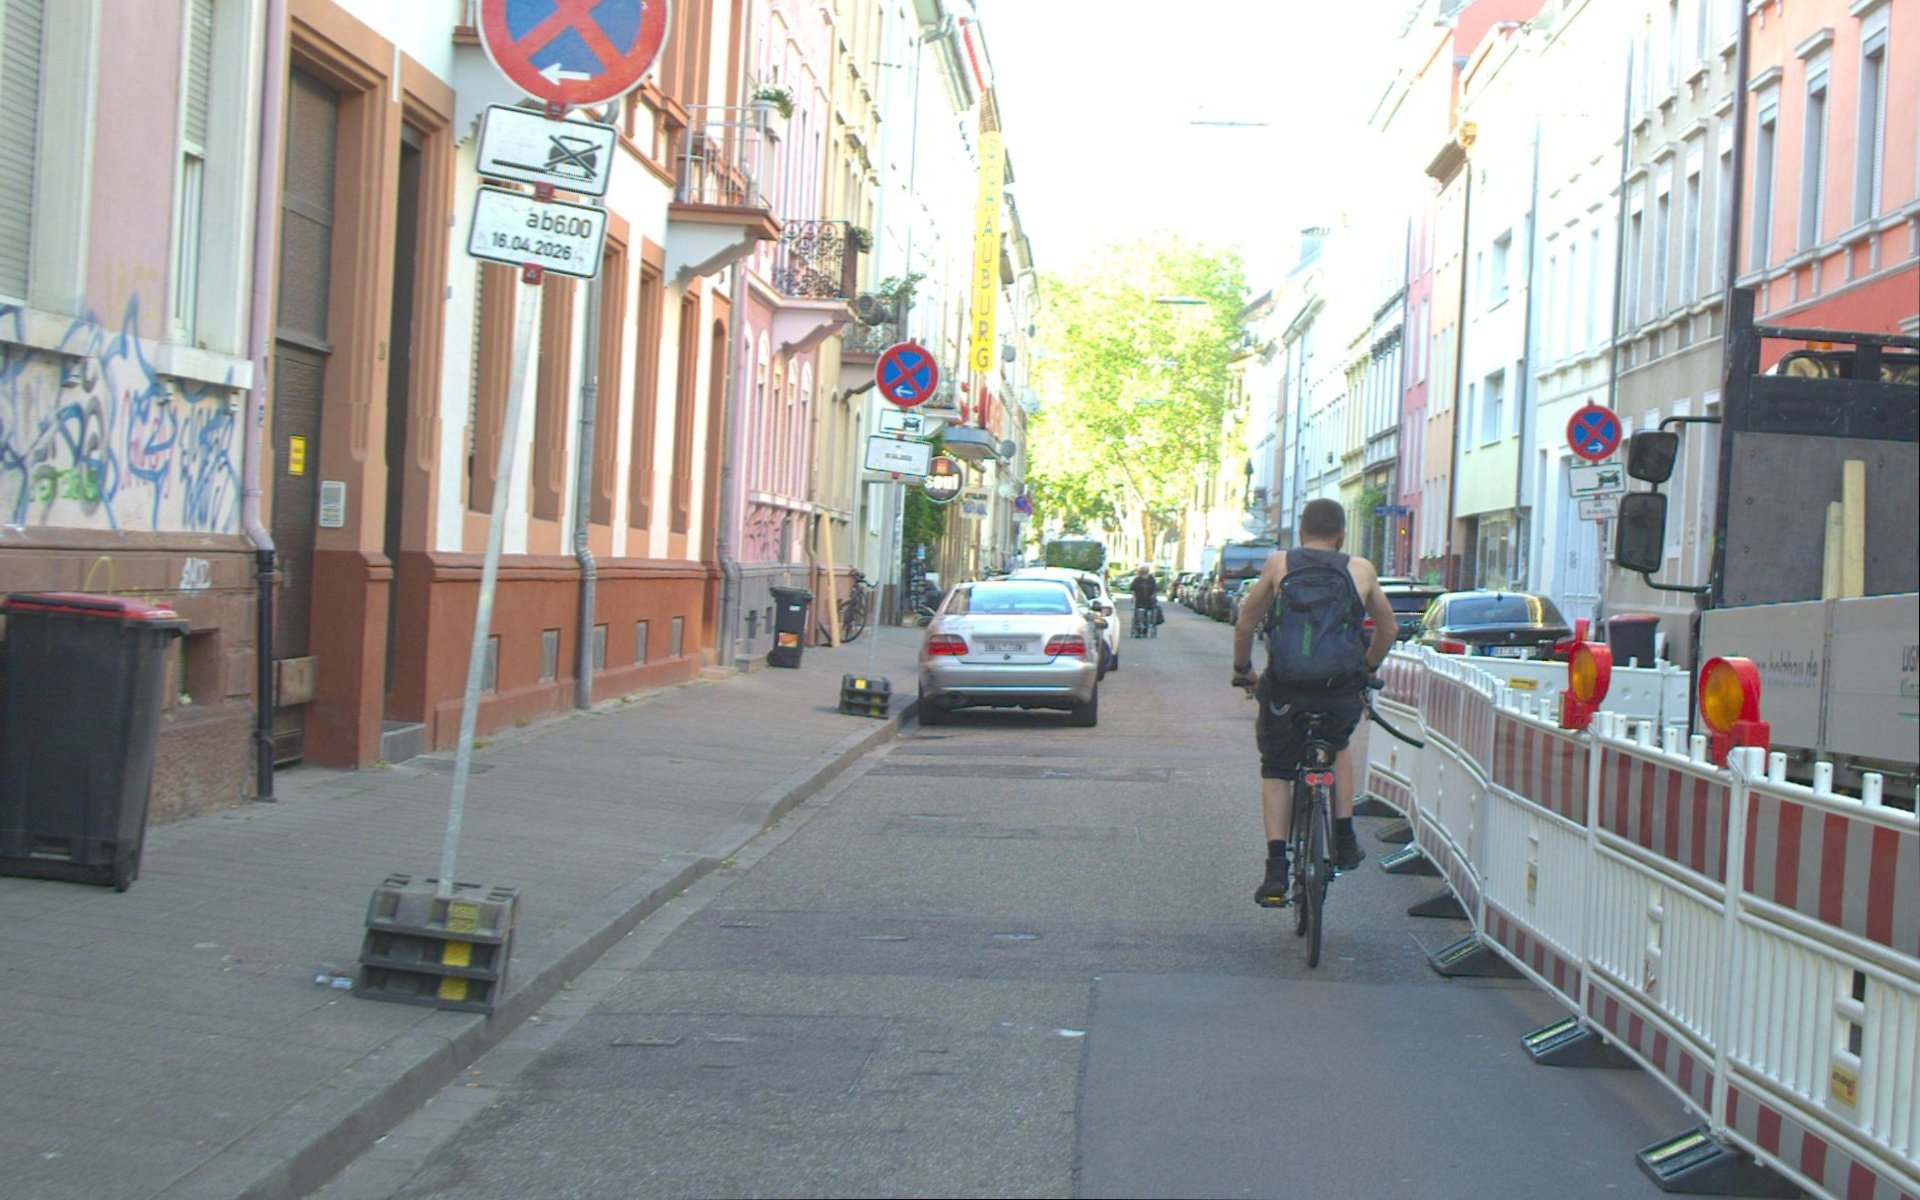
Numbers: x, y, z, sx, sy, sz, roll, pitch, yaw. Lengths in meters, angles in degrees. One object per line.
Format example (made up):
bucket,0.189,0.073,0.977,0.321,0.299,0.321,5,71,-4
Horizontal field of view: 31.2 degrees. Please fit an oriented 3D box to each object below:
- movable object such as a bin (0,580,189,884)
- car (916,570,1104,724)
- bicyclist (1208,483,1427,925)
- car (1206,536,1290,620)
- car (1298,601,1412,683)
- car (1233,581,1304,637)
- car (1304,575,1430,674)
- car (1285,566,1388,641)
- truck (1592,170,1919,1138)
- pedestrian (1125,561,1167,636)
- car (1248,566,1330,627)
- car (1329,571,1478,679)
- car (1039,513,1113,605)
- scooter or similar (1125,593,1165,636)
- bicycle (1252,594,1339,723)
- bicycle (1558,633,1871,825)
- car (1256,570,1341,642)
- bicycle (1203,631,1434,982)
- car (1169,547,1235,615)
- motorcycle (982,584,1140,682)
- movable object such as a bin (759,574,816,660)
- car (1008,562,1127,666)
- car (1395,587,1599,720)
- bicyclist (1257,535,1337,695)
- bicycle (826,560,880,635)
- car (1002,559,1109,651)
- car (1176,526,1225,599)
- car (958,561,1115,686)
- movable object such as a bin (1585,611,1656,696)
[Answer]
movable object such as a bin,-3.222,0.466,12.508,0.605,1.032,0.596,5,0,1
car,0.547,0.429,34.118,1.710,1.378,4.505,2,0,2
bicyclist,1.387,0.388,13.497,0.702,1.627,1.090,3,0,2
car,9.163,-0.689,109.807,2.308,2.529,6.769,2,0,2
car,7.125,0.732,62.320,1.710,1.378,4.000,2,0,2
car,8.433,0.232,94.208,1.710,1.442,4.000,2,0,2
car,6.728,0.383,57.140,1.710,1.551,4.000,2,0,2
car,7.398,0.060,67.855,1.710,1.378,4.000,2,0,2
truck,4.226,0.193,12.326,2.662,2.804,7.392,5,0,3
pedestrian,4.094,-0.031,75.743,0.770,1.573,0.900,5,0,1
car,7.872,-0.085,82.518,1.710,1.389,4.000,2,0,2
car,6.597,0.354,51.508,1.817,1.516,4.000,2,0,2
car,3.313,-1.183,98.750,1.909,2.488,4.165,3,1,0
scooter or similar,4.061,0.316,75.346,0.770,0.870,0.771,5,0,1
bicycle,3.474,0.587,35.790,0.702,1.203,2.342,3,2,2
bicycle,5.036,0.858,22.999,1.849,1.106,0.644,5,0,-4
car,7.594,0.127,77.382,1.621,1.545,4.000,2,0,2
bicycle,1.378,0.756,13.591,0.702,1.204,2.342,3,0,2
car,9.499,-0.733,135.279,2.308,2.529,6.769,2,0,2
motorcycle,1.431,0.468,48.614,2.146,1.354,0.540,1,1,-15
movable object such as a bin,-2.004,0.197,39.979,0.544,0.941,0.487,5,0,3
car,1.617,0.195,51.406,1.672,1.437,4.165,2,0,2
car,6.331,0.592,41.004,1.817,1.433,4.790,2,0,2
bicyclist,3.485,0.143,35.611,0.702,1.599,0.813,3,2,2
bicycle,-1.639,-0.043,53.011,0.592,1.085,2.079,5,0,3
car,1.608,0.071,57.193,1.672,1.437,3.768,2,0,2
car,12.734,-1.972,182.553,2.308,3.755,6.769,2,0,2
car,1.036,0.267,44.670,1.711,1.378,4.355,4,2,4
movable object such as a bin,8.563,0.688,44.611,0.736,1.072,0.677,1,0,-4
